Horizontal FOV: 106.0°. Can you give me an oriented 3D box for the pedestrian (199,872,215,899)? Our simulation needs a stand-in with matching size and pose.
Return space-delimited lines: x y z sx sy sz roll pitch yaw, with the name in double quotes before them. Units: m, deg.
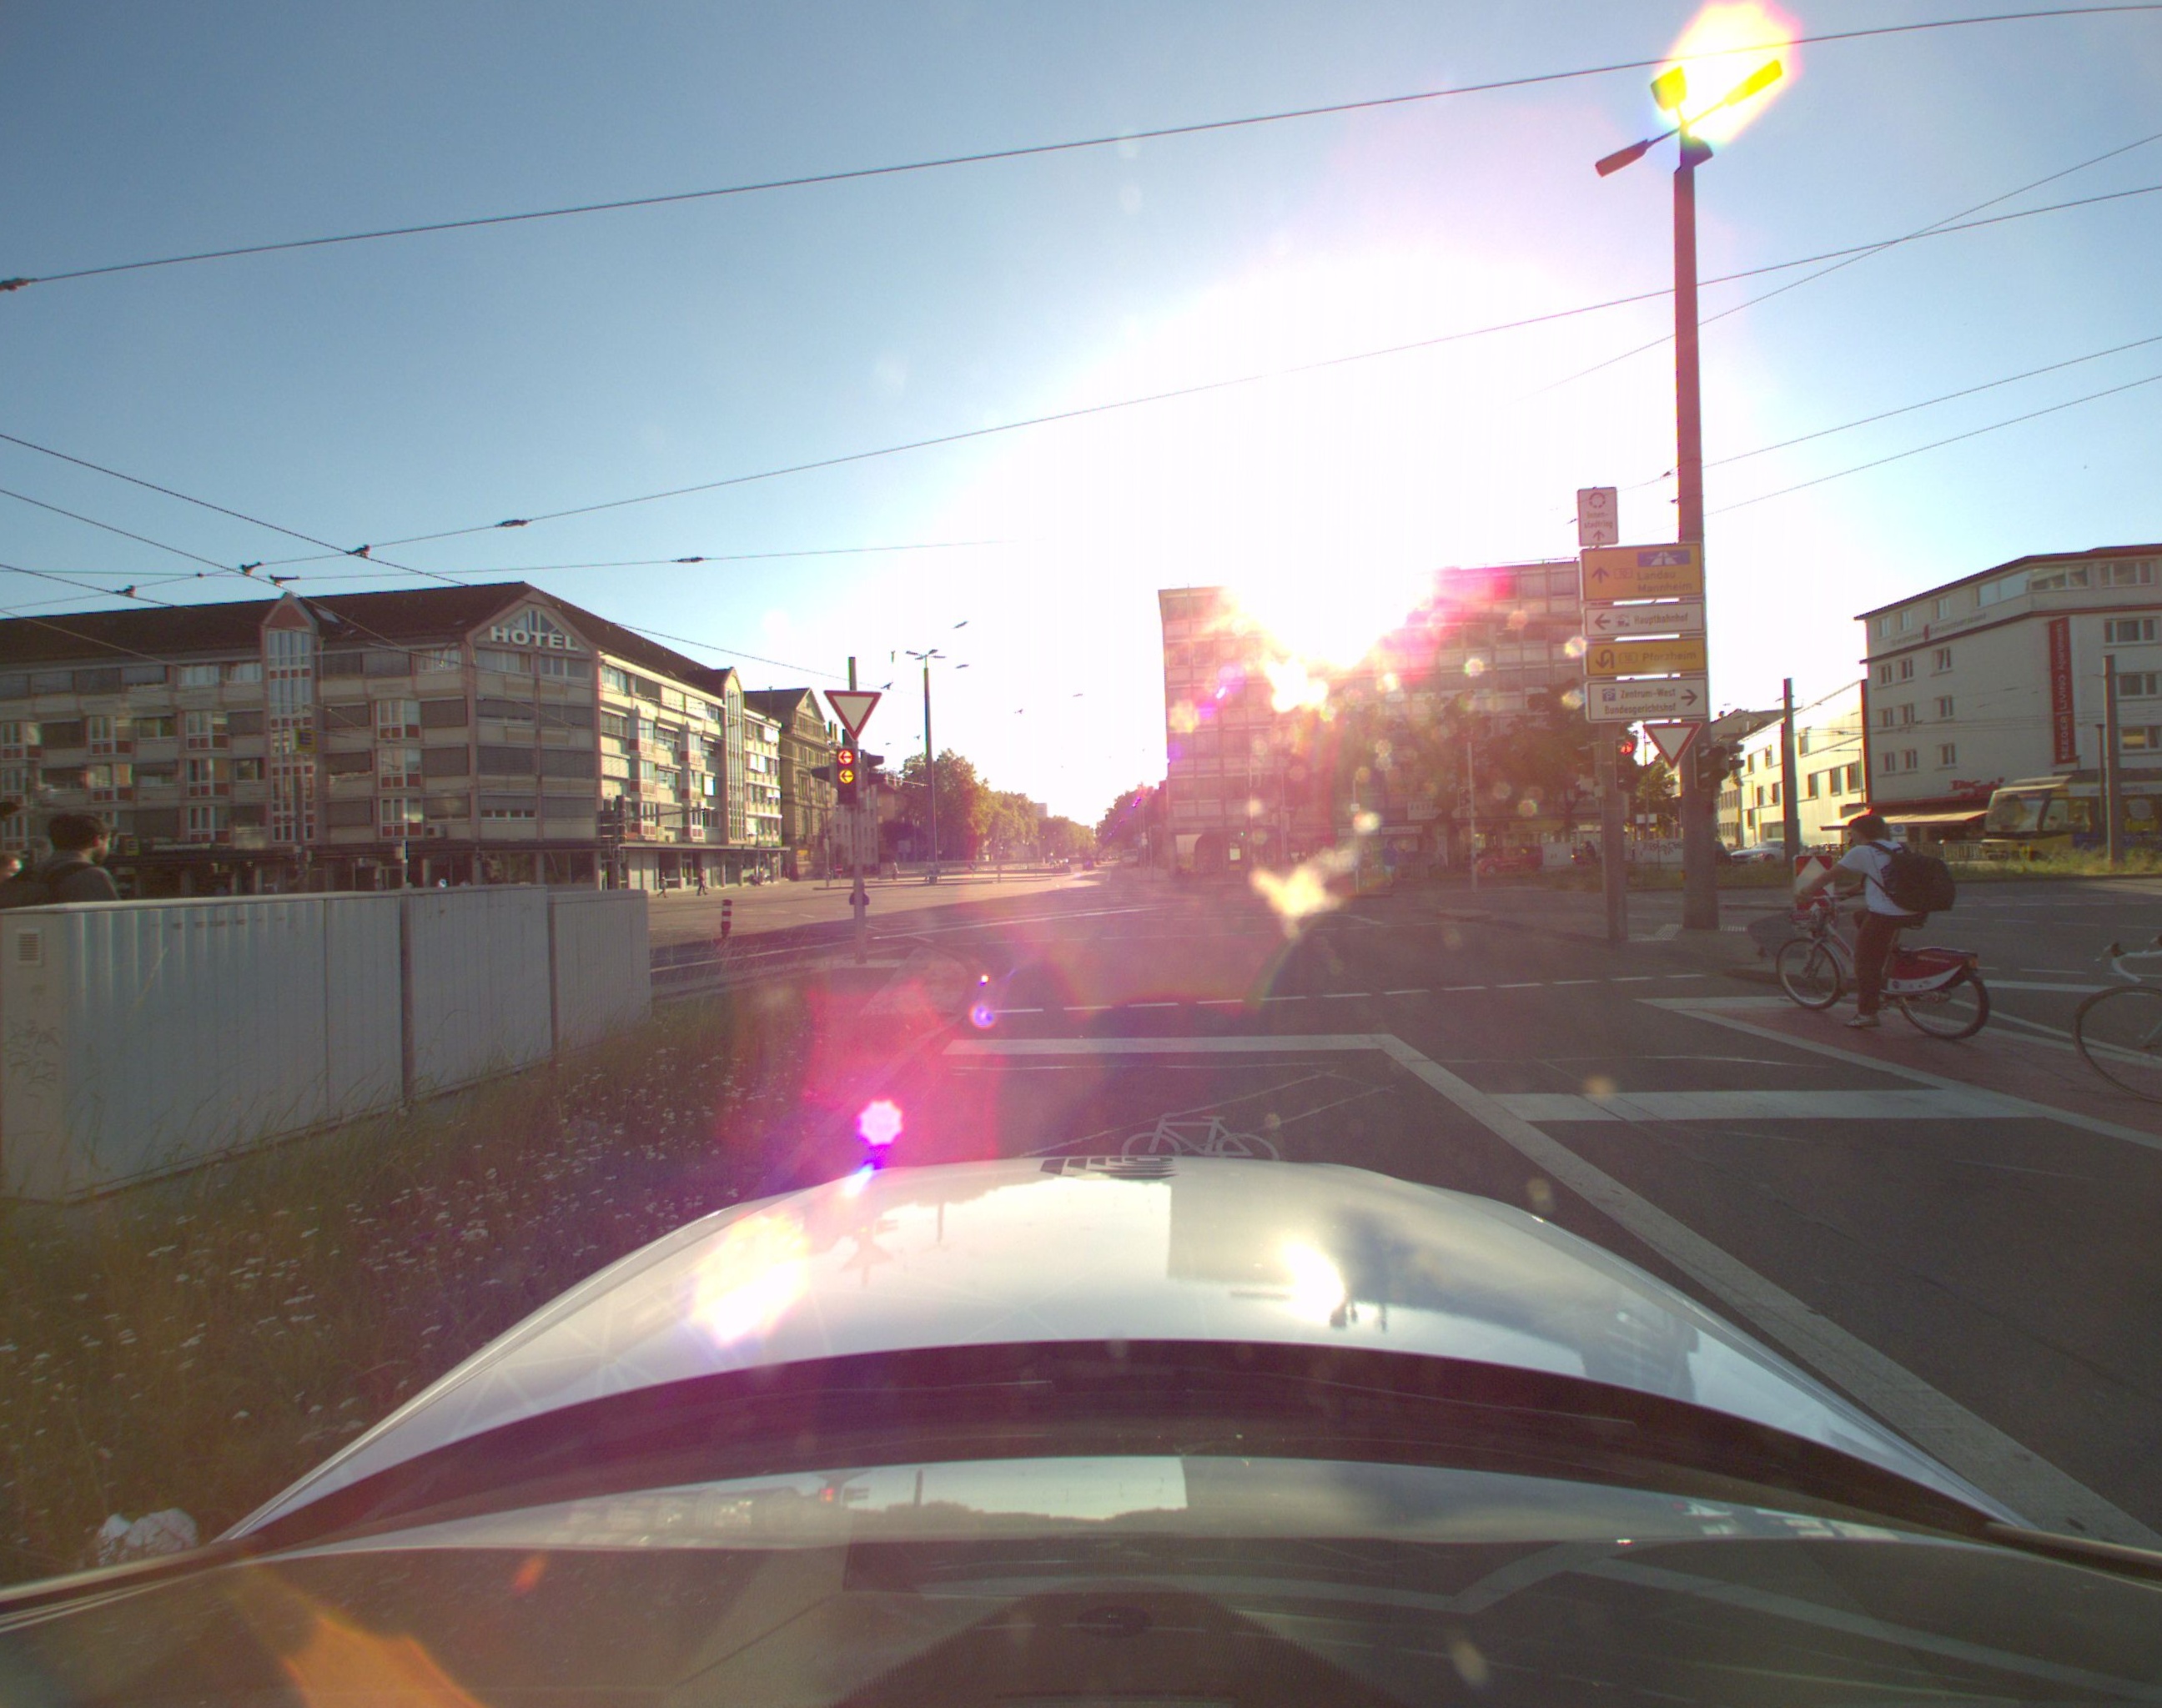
"pedestrian" -54.217 1.968 50.498 0.614 1.636 0.596 1 -5 -43

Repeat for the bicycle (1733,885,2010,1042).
"bicycle" 6.570 0.844 6.927 0.540 1.101 1.807 0 -1 -3

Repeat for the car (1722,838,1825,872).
"car" 34.541 0.055 40.651 3.988 1.618 1.837 0 -1 -11

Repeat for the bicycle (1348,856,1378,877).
"bicycle" 16.993 0.715 49.079 0.748 1.143 2.637 0 2 -4

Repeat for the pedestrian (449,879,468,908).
"pedestrian" -36.650 2.307 47.960 0.717 1.662 0.629 -2 -1 -22

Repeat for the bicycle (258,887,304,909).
"bicycle" -49.458 2.730 50.346 2.312 1.227 0.731 -2 -1 7

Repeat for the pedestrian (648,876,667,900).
"pedestrian" -26.265 2.085 50.513 0.703 1.453 0.855 0 -1 -3

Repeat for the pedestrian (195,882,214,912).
"pedestrian" -56.221 2.751 52.226 0.598 1.852 0.613 -1 -1 12

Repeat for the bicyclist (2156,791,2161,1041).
"bicyclist" 6.166 0.528 4.035 0.612 1.746 0.791 0 -1 -3

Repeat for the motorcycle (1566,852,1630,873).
"motorcycle" 24.963 0.415 39.322 2.648 1.001 0.536 0 -1 6

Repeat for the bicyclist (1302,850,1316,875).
"bicyclist" 13.444 0.500 48.056 0.677 1.424 0.671 0 -1 1

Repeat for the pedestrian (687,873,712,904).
"pedestrian" -25.110 2.267 53.639 1.191 1.882 0.856 0 5 -3

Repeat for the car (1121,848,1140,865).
"car" 6.317 0.318 103.967 2.275 2.172 4.838 0 -1 4

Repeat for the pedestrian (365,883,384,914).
"pedestrian" -39.480 2.485 45.530 0.625 1.694 0.859 0 -1 -30

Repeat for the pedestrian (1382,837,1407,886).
"pedestrian" 11.766 0.286 30.583 0.691 1.793 1.045 -1 -1 11

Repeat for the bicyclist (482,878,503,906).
"bicyclist" -34.843 2.223 48.224 0.636 1.596 0.659 0 2 5

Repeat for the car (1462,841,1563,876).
"car" 20.936 0.228 39.622 3.966 1.618 1.847 0 -1 6

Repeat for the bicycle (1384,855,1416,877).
"bicycle" 19.220 0.708 49.128 0.748 1.143 2.637 0 2 -4

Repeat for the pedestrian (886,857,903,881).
"pedestrian" -11.953 0.983 52.185 0.858 1.465 0.680 0 -6 -27

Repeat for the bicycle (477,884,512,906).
"bicycle" -34.830 2.444 48.381 0.635 1.145 1.773 0 2 6

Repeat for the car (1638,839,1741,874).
"car" 29.395 0.112 39.364 3.991 1.618 1.836 0 -1 -13

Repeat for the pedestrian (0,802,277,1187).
"pedestrian" -5.067 0.642 4.231 0.782 1.800 0.901 0 3 1

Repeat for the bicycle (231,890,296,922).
"bicycle" -39.497 2.484 39.392 0.577 1.366 2.108 0 1 30

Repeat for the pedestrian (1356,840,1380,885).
"pedestrian" 10.978 0.322 31.133 0.691 1.682 1.045 -1 -1 10

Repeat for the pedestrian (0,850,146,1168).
"pedestrian" -5.958 0.802 4.386 0.781 1.640 0.901 0 -1 5

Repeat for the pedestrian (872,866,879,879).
"pedestrian" -27.448 2.418 108.693 0.693 1.695 0.724 0 -1 1

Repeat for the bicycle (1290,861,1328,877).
"bicycle" 13.451 0.872 48.058 2.017 0.940 0.671 0 -1 0

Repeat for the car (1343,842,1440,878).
"car" 14.739 0.295 38.843 3.966 1.618 1.847 0 -1 6

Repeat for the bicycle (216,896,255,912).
"bicycle" -52.457 3.077 50.520 2.060 0.917 0.502 -2 -1 7

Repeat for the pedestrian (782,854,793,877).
"pedestrian" -31.195 1.196 86.550 0.926 2.398 0.958 0 -1 -9

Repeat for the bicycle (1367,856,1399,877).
"bicycle" 18.186 0.715 49.097 0.748 1.143 2.637 0 2 -4

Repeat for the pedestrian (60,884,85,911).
"pedestrian" -62.817 2.714 50.739 0.545 1.644 0.755 -1 2 11

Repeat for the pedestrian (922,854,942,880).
"pedestrian" -10.023 0.892 54.740 1.191 1.731 0.855 0 -1 -3

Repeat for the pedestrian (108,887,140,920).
"pedestrian" -49.594 2.546 42.207 0.680 1.660 0.780 0 -1 -4

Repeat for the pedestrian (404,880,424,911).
"pedestrian" -38.495 2.390 47.005 0.510 1.764 0.999 0 -1 -18

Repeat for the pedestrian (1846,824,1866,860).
"pedestrian" 43.144 -0.663 45.323 0.619 2.014 0.719 -1 -1 30

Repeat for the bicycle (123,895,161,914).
"bicycle" -60.180 3.249 52.227 0.481 1.119 1.650 0 -1 2

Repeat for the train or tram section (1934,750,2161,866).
"train or tram section" 39.900 -1.717 29.554 13.257 3.833 3.719 -2 -1 4

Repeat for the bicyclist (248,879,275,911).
"bicyclist" -39.542 1.981 39.298 0.559 1.481 0.743 0 1 30

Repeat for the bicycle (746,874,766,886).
"bicycle" -29.650 2.364 74.408 0.447 1.071 2.102 -1 -1 19

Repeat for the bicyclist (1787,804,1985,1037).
"bicyclist" 6.590 0.509 6.731 0.540 1.768 1.059 0 -1 -3

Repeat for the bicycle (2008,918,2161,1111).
"bicycle" 6.189 0.905 4.332 0.540 1.001 1.692 0 -1 -3

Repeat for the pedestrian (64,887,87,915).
"pedestrian" -64.751 3.036 52.448 0.671 1.778 0.825 -1 -1 32

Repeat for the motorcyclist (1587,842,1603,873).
"motorcyclist" 24.825 0.163 39.343 0.458 1.509 0.536 0 -1 7

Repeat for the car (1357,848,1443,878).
"car" 17.314 0.487 44.355 4.046 1.618 1.847 0 -1 6
